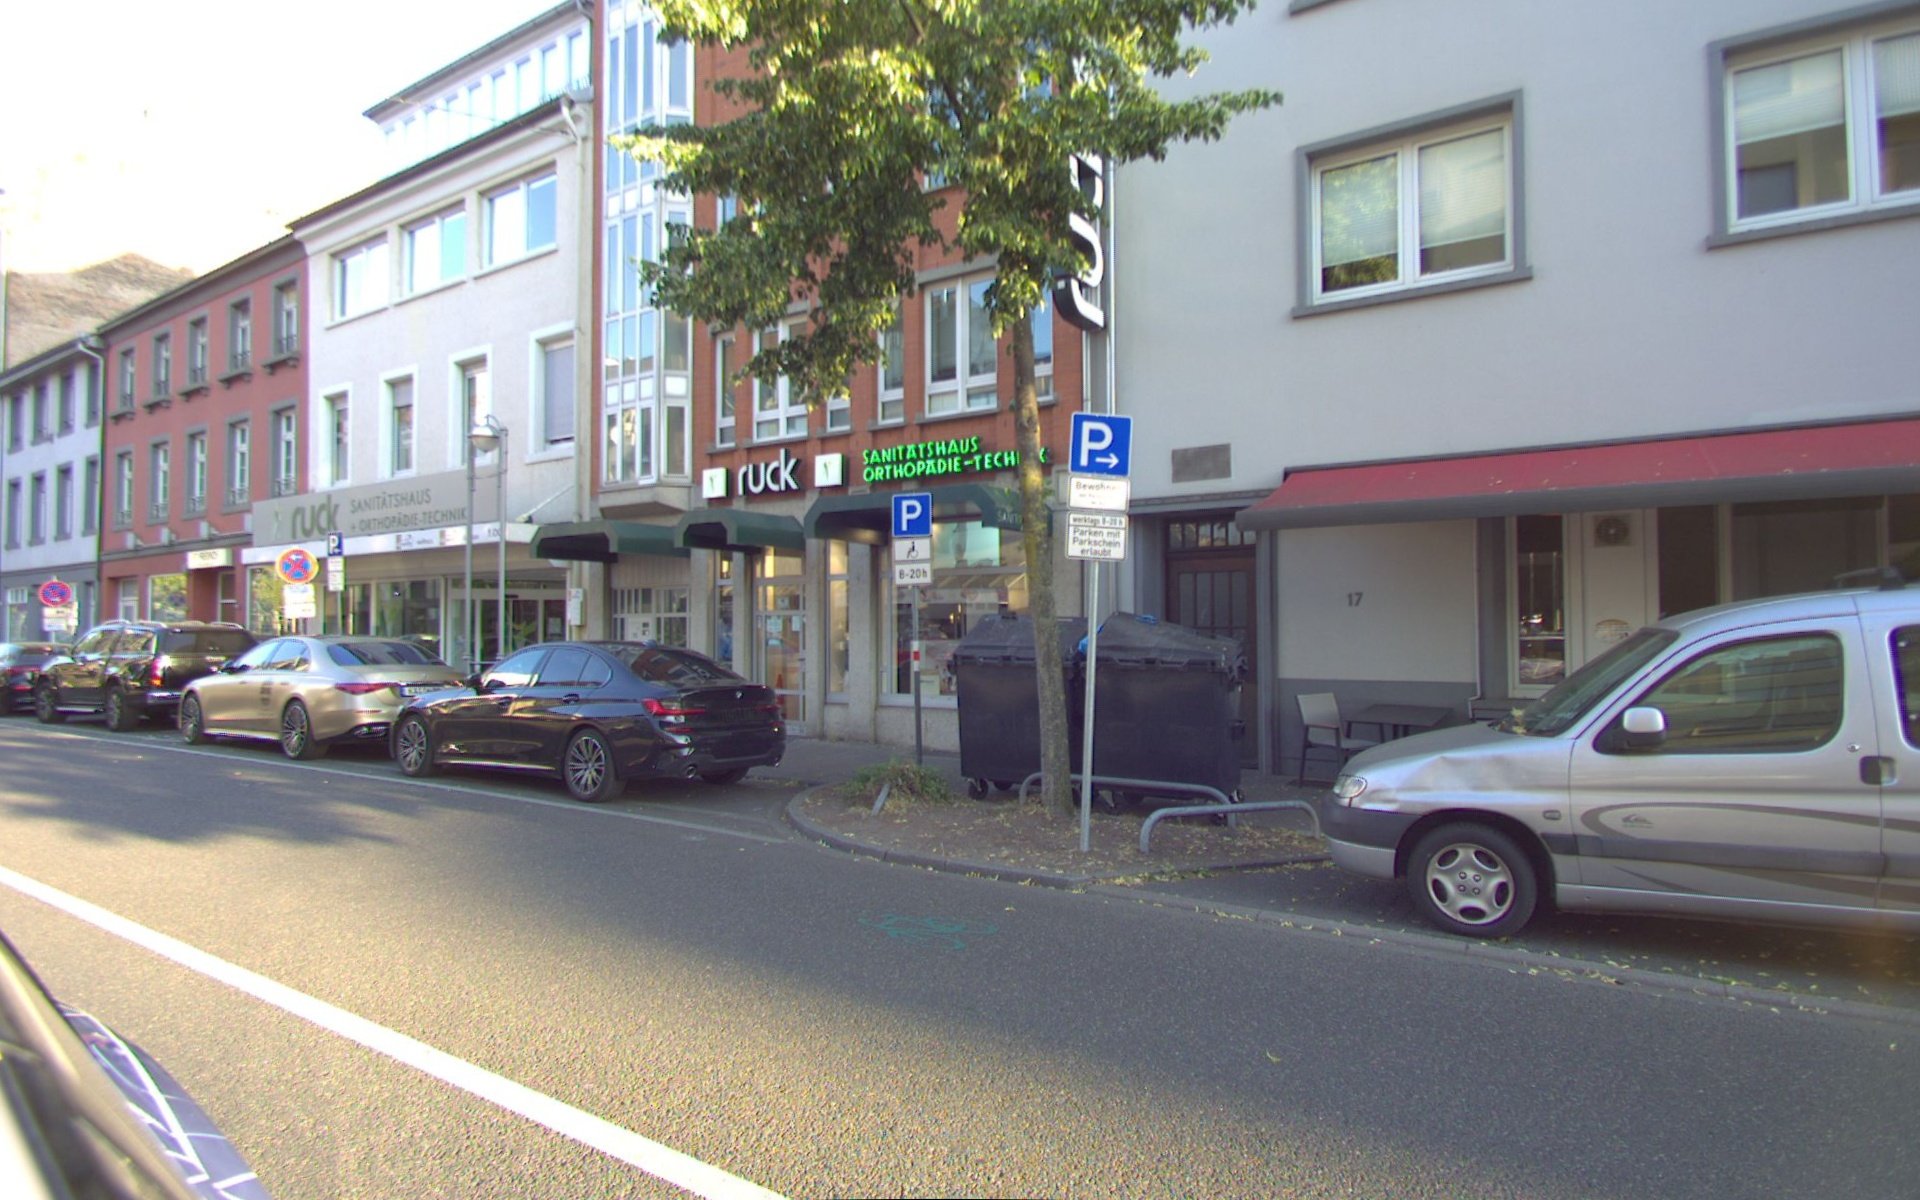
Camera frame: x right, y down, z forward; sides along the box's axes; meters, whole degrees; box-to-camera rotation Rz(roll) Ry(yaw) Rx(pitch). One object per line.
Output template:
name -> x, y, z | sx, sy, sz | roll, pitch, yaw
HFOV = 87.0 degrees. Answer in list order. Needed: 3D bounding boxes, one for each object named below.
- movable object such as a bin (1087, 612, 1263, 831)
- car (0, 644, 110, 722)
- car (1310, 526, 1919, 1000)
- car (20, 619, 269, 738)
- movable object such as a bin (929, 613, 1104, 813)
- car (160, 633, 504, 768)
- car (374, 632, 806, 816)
movable object such as a bin -> 1.757, 0.930, 8.267 | 1.203, 1.632, 0.775 | -1, 0, 30
car -> -19.273, 1.652, 20.703 | 4.001, 1.448, 1.688 | -2, -5, 32
car -> 3.980, 0.702, 4.982 | 4.038, 1.902, 1.657 | -1, -4, 31
car -> -14.043, 1.290, 17.345 | 4.921, 1.793, 1.708 | -2, -4, 31
movable object such as a bin -> 0.502, 0.951, 9.018 | 1.331, 1.632, 0.775 | -1, -1, 30
car -> -8.449, 1.233, 13.457 | 5.094, 1.484, 1.977 | -2, -4, 34
car -> -3.825, 1.111, 10.184 | 4.528, 1.484, 1.706 | -2, -5, 33
